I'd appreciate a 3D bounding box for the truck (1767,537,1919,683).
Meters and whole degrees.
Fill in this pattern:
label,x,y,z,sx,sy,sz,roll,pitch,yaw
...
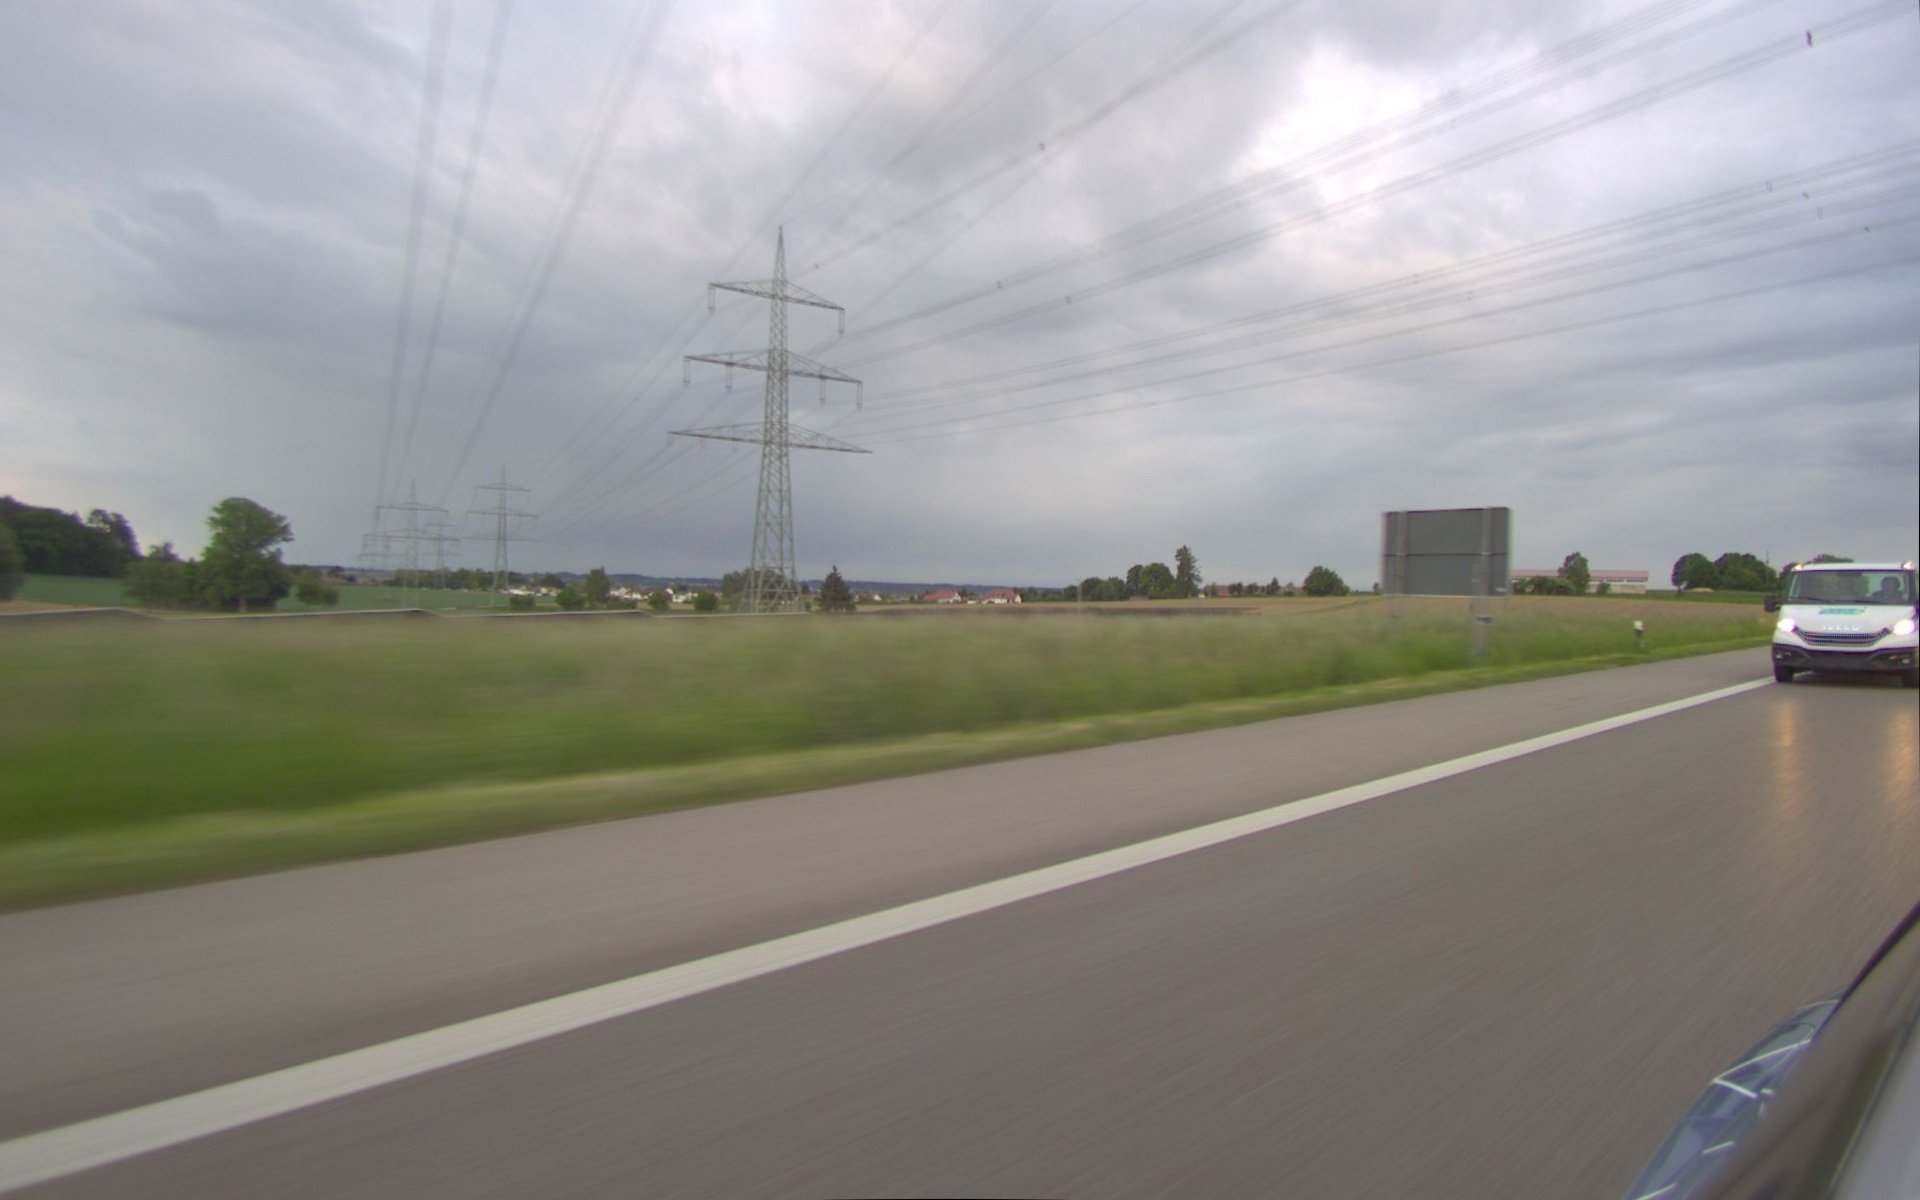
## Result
label,x,y,z,sx,sy,sz,roll,pitch,yaw
truck,17.870,0.178,19.792,7.566,2.390,2.174,0,-1,-43
